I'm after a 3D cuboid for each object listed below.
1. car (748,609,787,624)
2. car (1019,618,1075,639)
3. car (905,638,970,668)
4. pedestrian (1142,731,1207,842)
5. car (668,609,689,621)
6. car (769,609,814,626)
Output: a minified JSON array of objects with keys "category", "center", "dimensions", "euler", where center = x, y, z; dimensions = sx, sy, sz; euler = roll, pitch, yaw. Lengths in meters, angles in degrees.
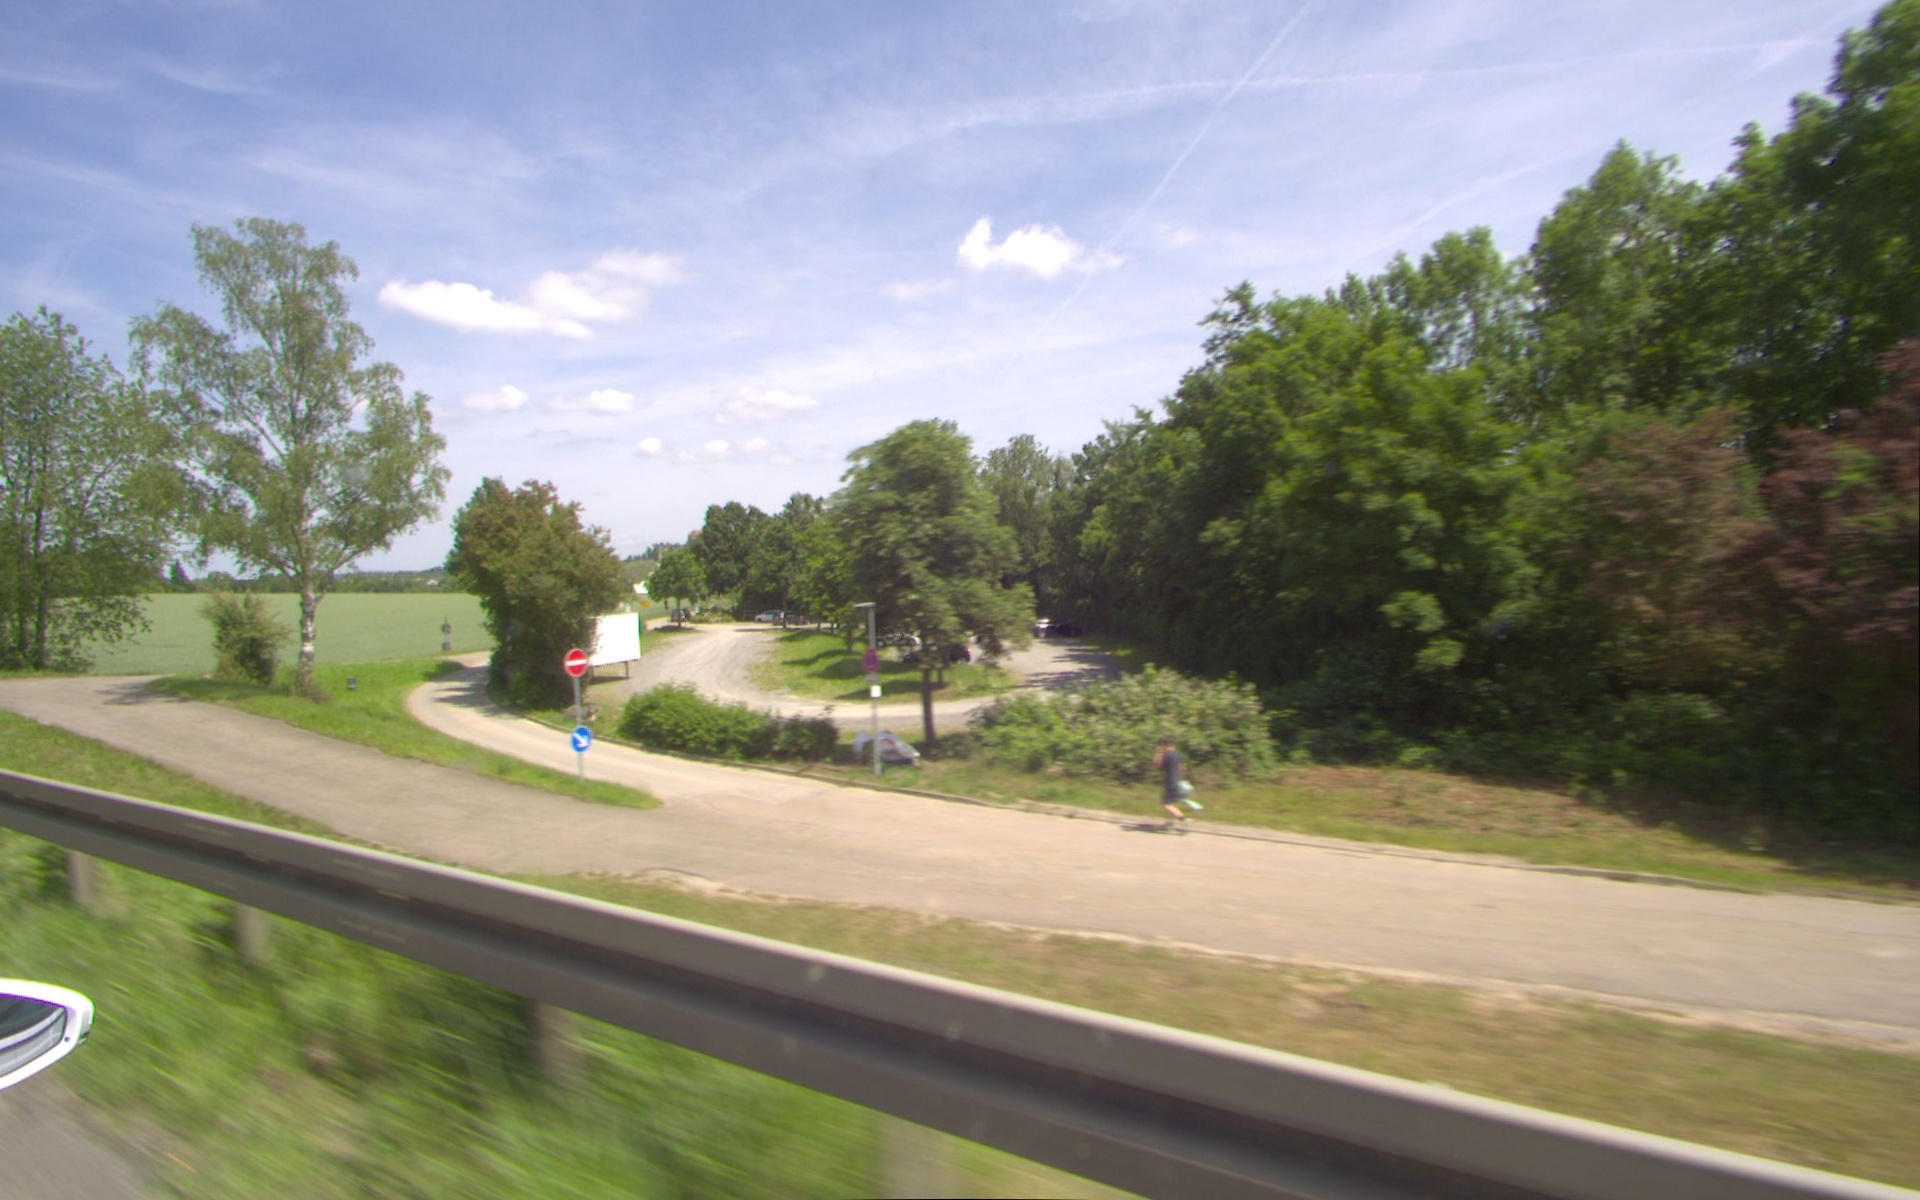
[{"category":"car","center":[-22.559,1.913,117.343],"dimensions":[3.931,1.562,1.996],"euler":[-3,-2,20]},{"category":"car","center":[6.921,2.268,80.033],"dimensions":[4.091,1.512,1.899],"euler":[-2,2,-14]},{"category":"car","center":[-1.281,3.032,57.351],"dimensions":[3.624,1.512,1.693],"euler":[-1,2,-2]},{"category":"pedestrian","center":[4.028,3.456,18.739],"dimensions":[0.945,1.836,0.883],"euler":[0,3,30]},{"category":"car","center":[-35.580,1.882,126.536],"dimensions":[1.804,1.427,4.442],"euler":[-2,1,-6]},{"category":"car","center":[-18.738,1.920,111.421],"dimensions":[4.860,1.726,1.991],"euler":[1,0,30]}]
